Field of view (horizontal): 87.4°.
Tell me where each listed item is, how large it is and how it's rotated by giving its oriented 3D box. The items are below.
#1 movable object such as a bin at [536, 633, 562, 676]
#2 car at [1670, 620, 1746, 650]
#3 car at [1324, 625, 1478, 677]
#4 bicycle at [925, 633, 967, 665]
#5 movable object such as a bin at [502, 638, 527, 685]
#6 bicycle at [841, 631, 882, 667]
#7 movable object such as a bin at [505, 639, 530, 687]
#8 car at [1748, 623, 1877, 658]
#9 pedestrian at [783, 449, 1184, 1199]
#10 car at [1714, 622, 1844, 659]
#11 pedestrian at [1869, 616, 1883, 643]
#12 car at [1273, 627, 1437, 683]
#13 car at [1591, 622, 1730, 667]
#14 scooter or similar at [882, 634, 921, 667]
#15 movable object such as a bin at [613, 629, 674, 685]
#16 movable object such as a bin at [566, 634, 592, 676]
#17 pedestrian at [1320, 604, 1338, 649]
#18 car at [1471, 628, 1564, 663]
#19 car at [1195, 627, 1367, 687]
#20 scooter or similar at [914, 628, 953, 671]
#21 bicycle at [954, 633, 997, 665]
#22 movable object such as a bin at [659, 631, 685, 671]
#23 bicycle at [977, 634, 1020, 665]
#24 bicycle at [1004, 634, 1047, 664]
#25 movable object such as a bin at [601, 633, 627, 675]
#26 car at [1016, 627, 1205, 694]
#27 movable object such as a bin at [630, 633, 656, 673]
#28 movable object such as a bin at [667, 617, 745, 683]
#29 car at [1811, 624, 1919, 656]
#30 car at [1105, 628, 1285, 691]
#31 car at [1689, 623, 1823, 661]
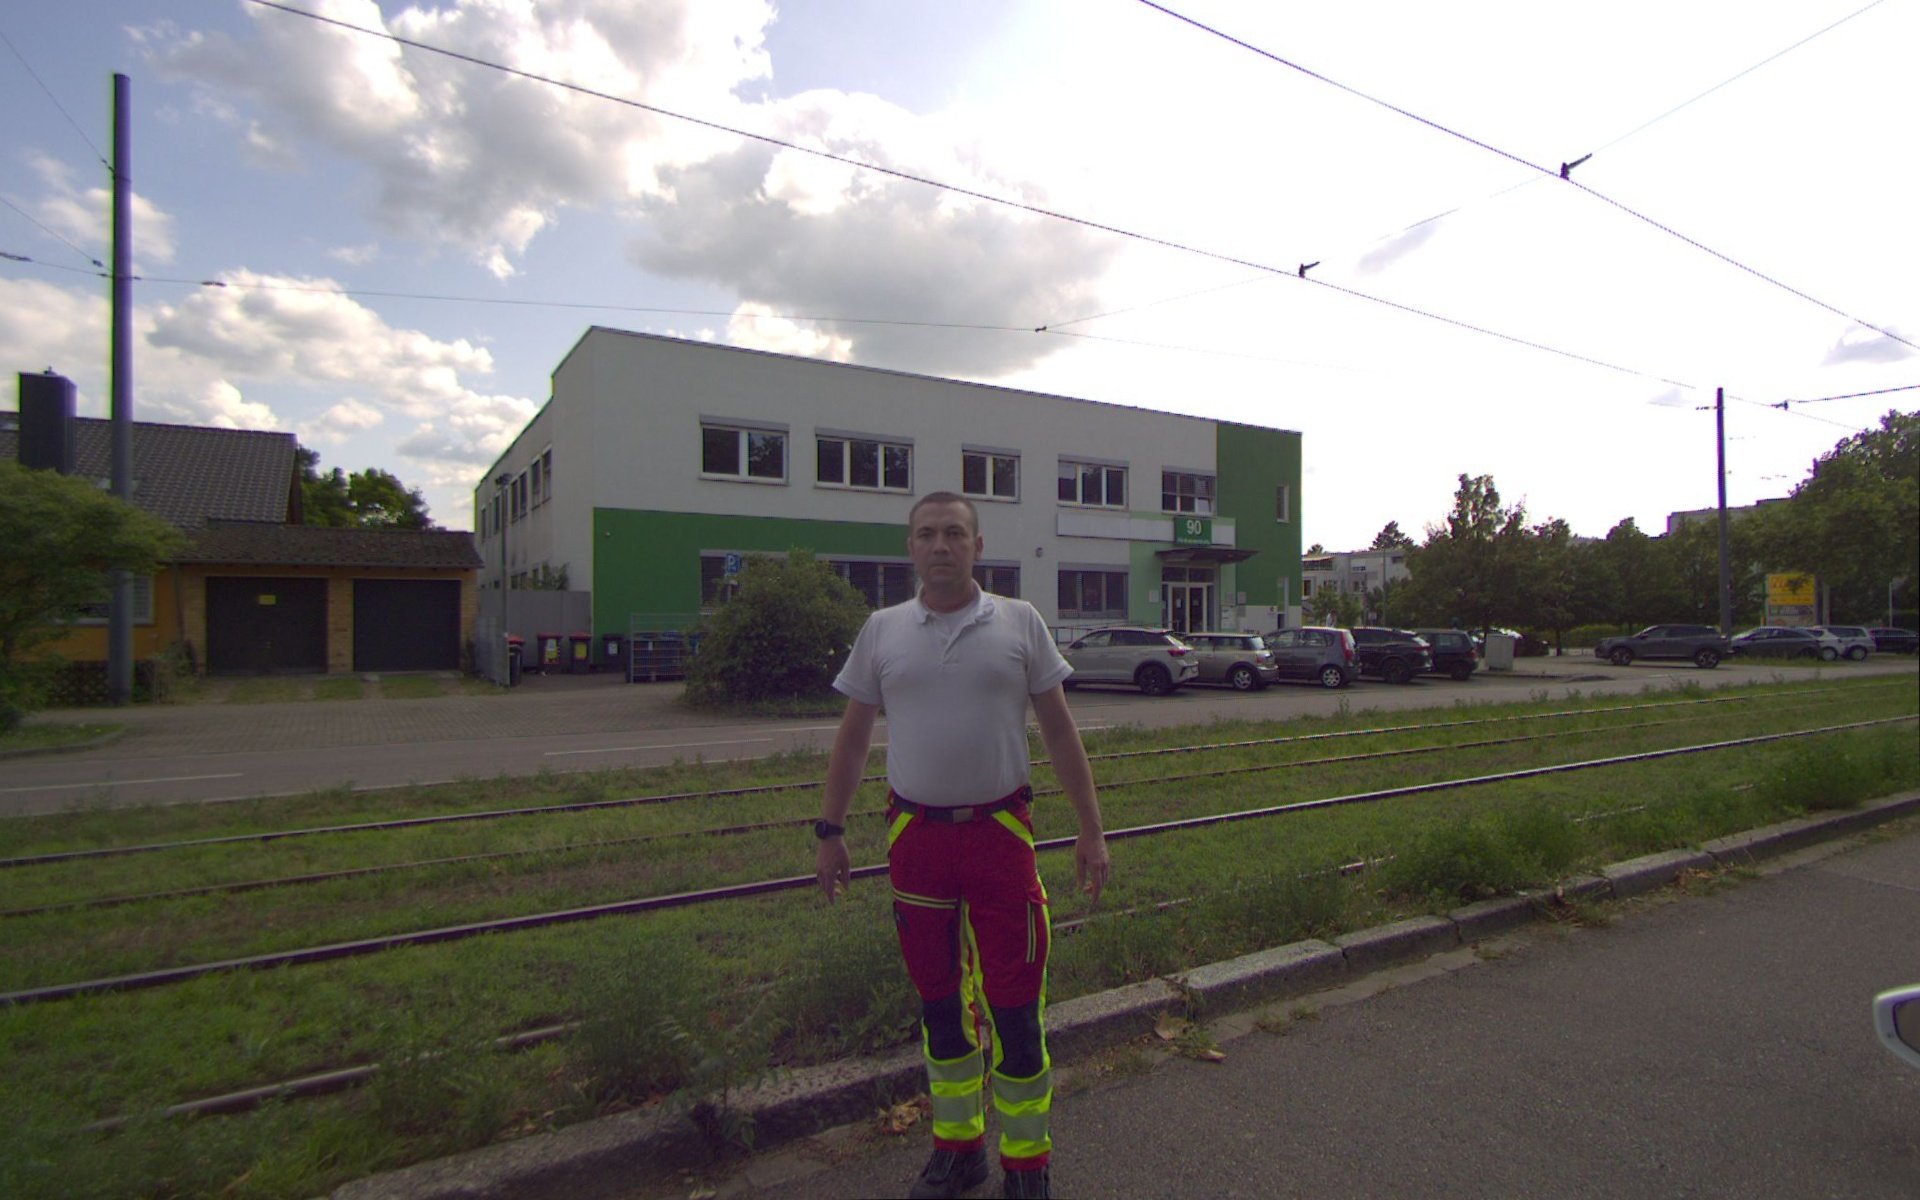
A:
[{"bbox_3d":[-10.614,1.401,25.952,0.558,1.056,0.565,0,1,-31],"label":"movable object such as a bin"},{"bbox_3d":[48.529,2.260,65.247,1.960,1.773,4.000,1,0,0],"label":"car"},{"bbox_3d":[13.525,1.543,30.877,4.160,1.501,1.880,-1,-2,30],"label":"car"},{"bbox_3d":[-0.467,1.533,31.669,0.453,0.911,1.848,2,0,-30],"label":"bicycle"},{"bbox_3d":[-10.459,1.442,23.589,0.474,1.056,0.491,0,1,-31],"label":"movable object such as a bin"},{"bbox_3d":[-2.949,1.452,30.005,0.453,0.999,1.848,2,0,-30],"label":"bicycle"},{"bbox_3d":[-10.180,1.448,23.106,0.476,1.056,0.502,0,1,-31],"label":"movable object such as a bin"},{"bbox_3d":[39.378,1.850,46.537,4.154,1.501,1.882,1,-1,23],"label":"car"},{"bbox_3d":[0.019,0.567,2.424,0.791,1.709,0.850,1,-1,-5],"label":"pedestrian"},{"bbox_3d":[36.717,1.786,45.164,4.154,1.501,1.882,1,-1,23],"label":"car"},{"bbox_3d":[58.232,1.890,63.854,0.597,1.699,0.463,1,-1,-33],"label":"pedestrian"},{"bbox_3d":[11.322,1.529,28.834,4.160,1.501,1.880,-1,-2,30],"label":"car"},{"bbox_3d":[26.170,1.622,37.671,4.164,1.501,1.878,1,-1,34],"label":"car"},{"bbox_3d":[-1.813,1.546,30.981,0.453,0.911,1.726,2,0,-30],"label":"scooter or similar"},{"bbox_3d":[-7.598,1.352,24.103,1.241,1.251,1.001,0,1,-29],"label":"movable object such as a bin"},{"bbox_3d":[-10.005,1.430,26.352,0.558,1.056,0.565,0,1,-31],"label":"movable object such as a bin"},{"bbox_3d":[15.540,1.117,42.294,0.503,1.852,0.543,1,-1,-33],"label":"pedestrian"},{"bbox_3d":[29.188,2.366,52.682,1.755,1.586,3.970,2,0,-28],"label":"car"},{"bbox_3d":[8.695,1.506,27.273,4.160,1.501,1.880,-1,-2,30],"label":"car"},{"bbox_3d":[-0.785,1.451,29.604,1.073,1.171,1.306,2,0,-2],"label":"scooter or similar"},{"bbox_3d":[0.481,1.564,32.289,0.453,0.911,1.848,2,0,-30],"label":"bicycle"},{"bbox_3d":[-7.927,1.399,27.612,0.558,1.056,0.565,0,1,-31],"label":"movable object such as a bin"},{"bbox_3d":[1.242,1.589,32.751,0.453,0.911,1.848,2,0,-30],"label":"bicycle"},{"bbox_3d":[2.153,1.610,33.262,0.453,0.911,1.848,2,0,-30],"label":"bicycle"},{"bbox_3d":[-9.249,1.437,26.849,0.558,1.056,0.565,0,1,-31],"label":"movable object such as a bin"},{"bbox_3d":[3.633,1.408,24.228,4.155,1.501,1.882,-1,-2,25],"label":"car"},{"bbox_3d":[-8.589,1.425,27.221,0.558,1.056,0.565,0,1,-31],"label":"movable object such as a bin"},{"bbox_3d":[-6.283,1.208,24.862,1.691,1.540,1.001,0,1,-29],"label":"movable object such as a bin"},{"bbox_3d":[46.172,2.004,50.981,4.151,1.501,1.883,1,-1,19],"label":"car"},{"bbox_3d":[6.025,1.476,25.875,4.160,1.501,1.880,-1,-2,30],"label":"car"},{"bbox_3d":[34.353,1.771,43.482,4.154,1.501,1.882,1,-1,23],"label":"car"}]
